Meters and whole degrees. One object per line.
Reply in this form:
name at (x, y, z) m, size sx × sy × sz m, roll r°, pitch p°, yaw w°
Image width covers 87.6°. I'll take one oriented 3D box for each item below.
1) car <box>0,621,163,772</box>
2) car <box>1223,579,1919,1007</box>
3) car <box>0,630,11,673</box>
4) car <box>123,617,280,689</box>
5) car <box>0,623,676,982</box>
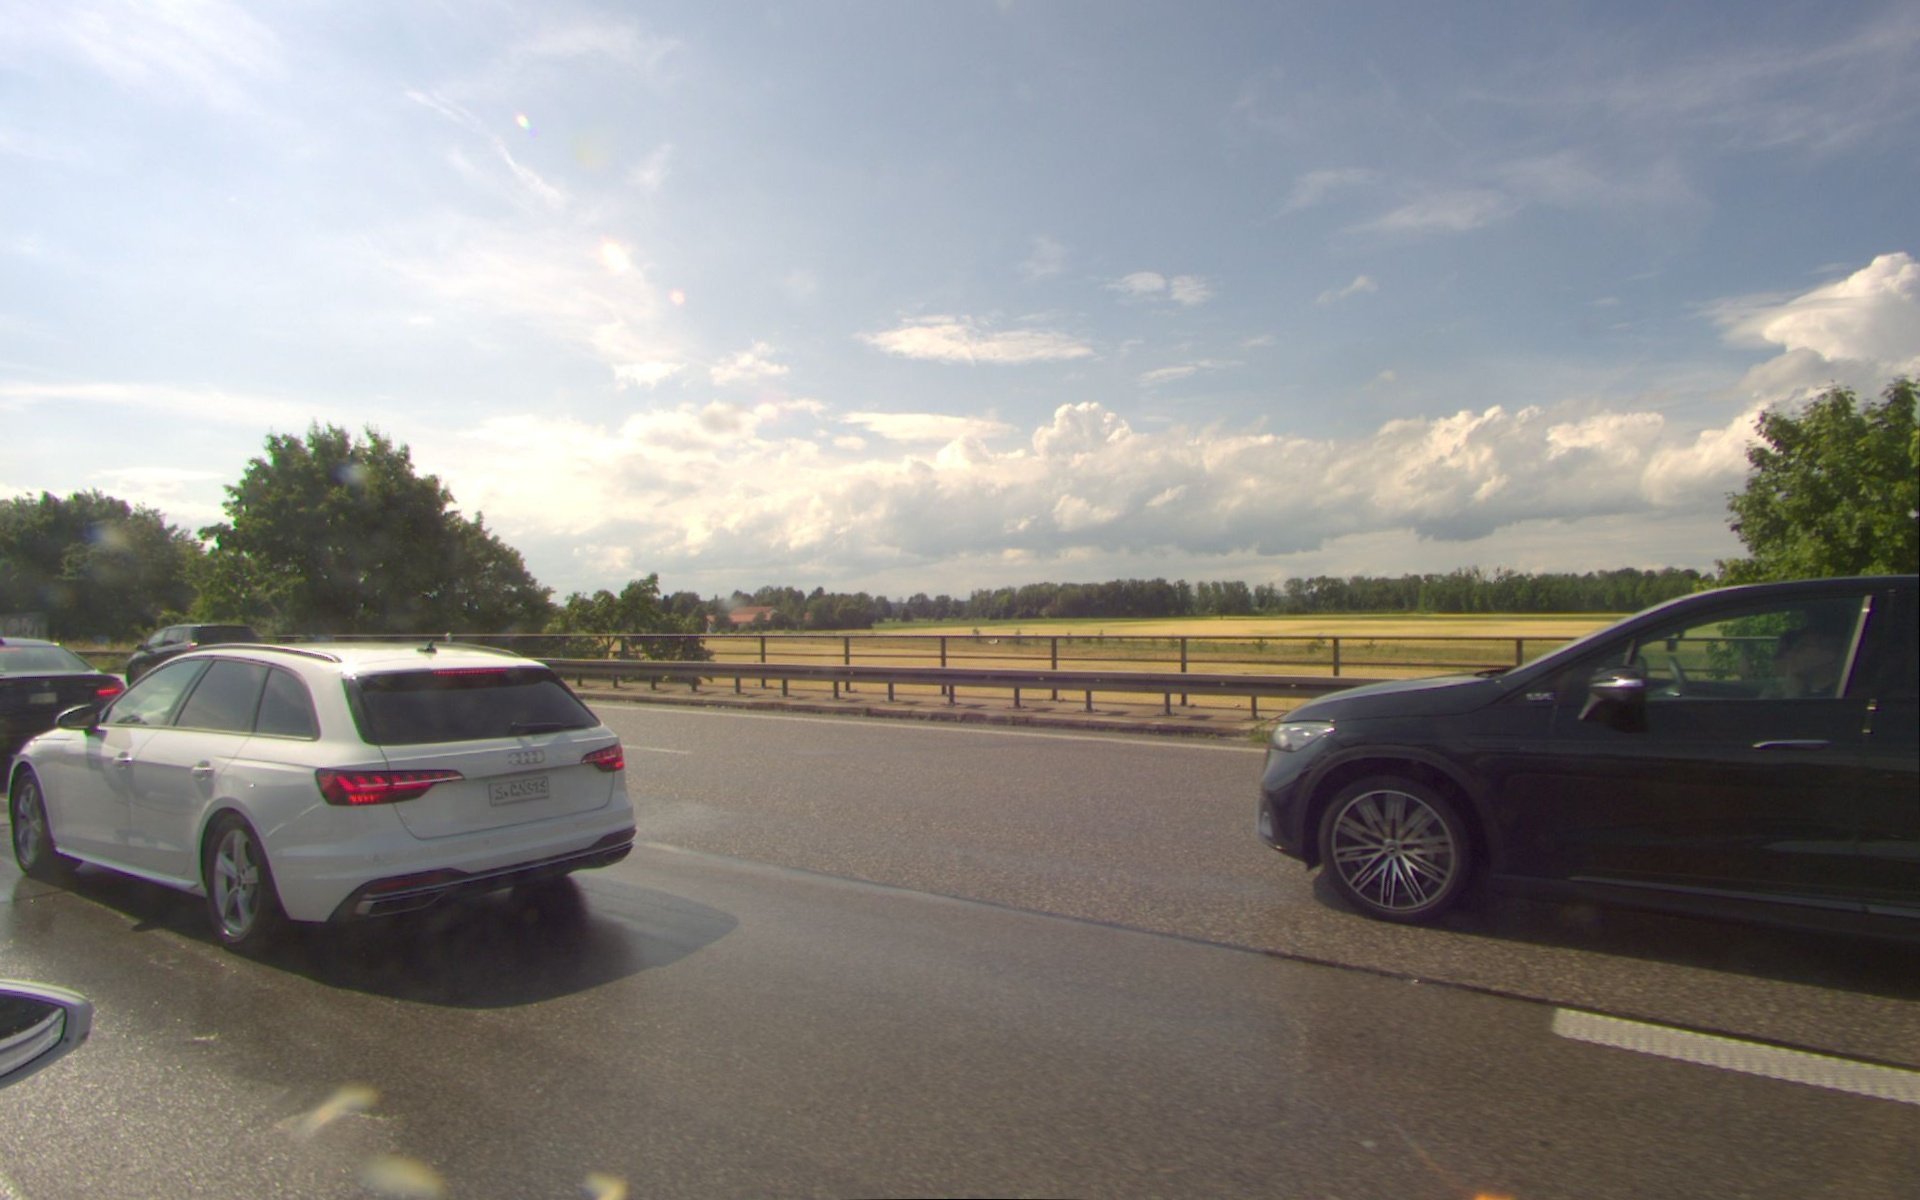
car at (-11.179, 1.009, 11.314) m, size 4.189 × 1.483 × 1.847 m, roll -1°, pitch -1°, yaw 27°
car at (3.826, 0.744, 4.796) m, size 4.590 × 1.601 × 1.989 m, roll -1°, pitch -1°, yaw 34°
car at (-38.146, 1.967, 38.322) m, size 3.946 × 1.588 × 1.844 m, roll -1°, pitch -2°, yaw 34°
car at (-18.800, 1.270, 24.777) m, size 4.304 × 1.641 × 1.816 m, roll -1°, pitch -2°, yaw 34°
car at (-3.946, 0.936, 6.018) m, size 4.448 × 1.443 × 1.824 m, roll -2°, pitch -3°, yaw 32°
